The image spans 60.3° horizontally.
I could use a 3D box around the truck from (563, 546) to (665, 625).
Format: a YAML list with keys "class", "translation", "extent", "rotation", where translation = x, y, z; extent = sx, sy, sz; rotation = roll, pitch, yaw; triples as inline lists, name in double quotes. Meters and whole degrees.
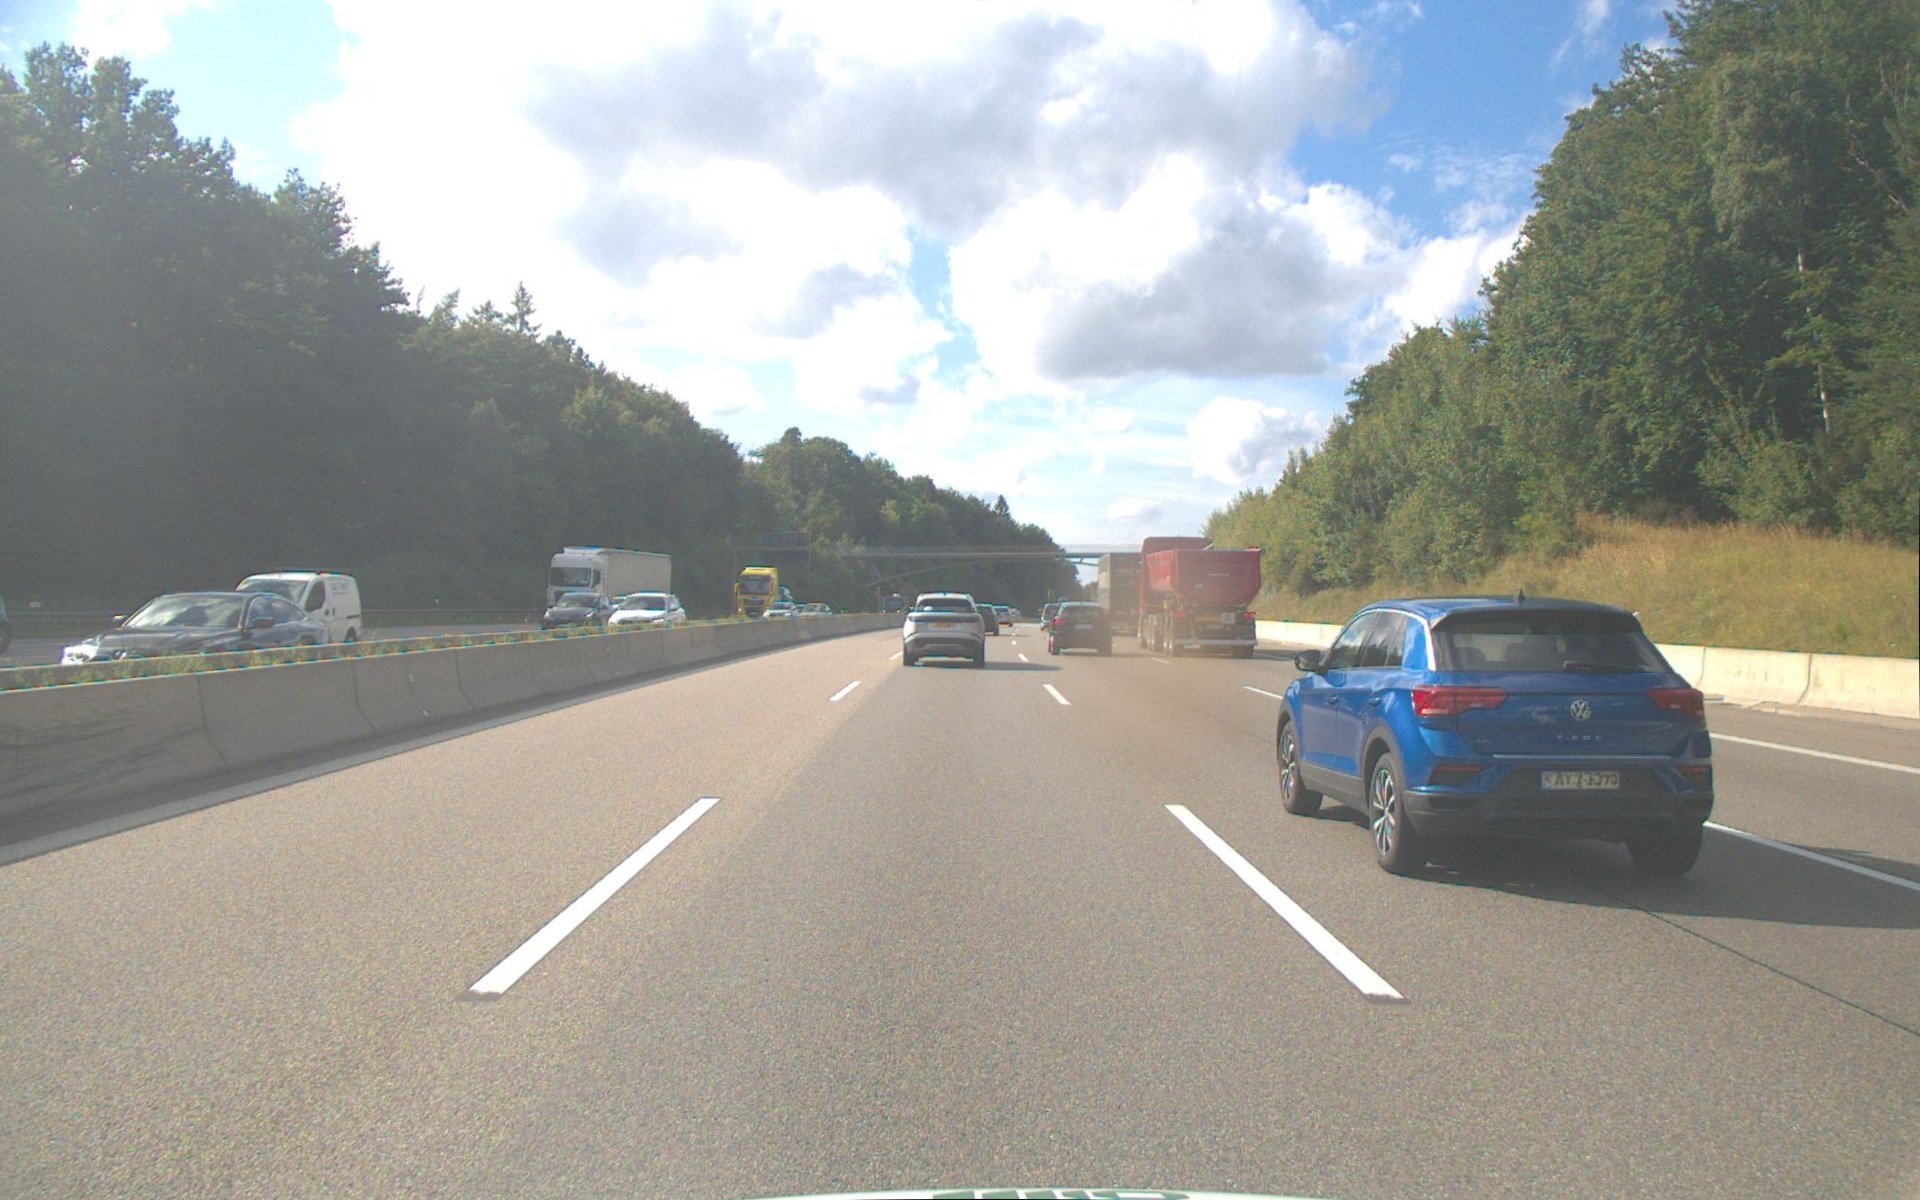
- class: "truck"
  translation: [-19.589, -0.793, 94.685]
  extent: [2.650, 4.139, 13.091]
  rotation: [1, 0, 2]

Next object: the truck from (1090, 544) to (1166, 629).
- class: "truck"
  translation: [8.415, -0.656, 84.109]
  extent: [3.054, 4.003, 10.413]
  rotation: [1, 0, 2]

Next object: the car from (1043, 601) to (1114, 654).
- class: "car"
  translation: [3.464, 0.776, 48.989]
  extent: [1.785, 1.483, 4.000]
  rotation: [1, 0, 0]

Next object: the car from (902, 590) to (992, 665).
- class: "car"
  translation: [-0.362, 0.599, 39.551]
  extent: [1.966, 1.644, 5.299]
  rotation: [1, 0, -2]

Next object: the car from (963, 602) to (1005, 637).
- class: "car"
  translation: [1.175, 0.920, 78.419]
  extent: [1.784, 1.573, 4.001]
  rotation: [2, 0, 3]

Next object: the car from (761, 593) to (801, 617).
- class: "car"
  translation: [-11.468, 0.320, 106.116]
  extent: [1.952, 1.512, 4.983]
  rotation: [1, 0, 1]

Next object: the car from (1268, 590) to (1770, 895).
- class: "car"
  translation: [3.268, 0.719, 10.669]
  extent: [1.737, 1.557, 4.457]
  rotation: [0, 0, 0]

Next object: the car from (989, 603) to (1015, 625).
- class: "car"
  translation: [3.076, 0.995, 119.544]
  extent: [1.784, 1.483, 4.001]
  rotation: [1, 0, 2]

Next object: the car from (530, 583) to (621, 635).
- class: "car"
  translation: [-13.385, 0.301, 57.898]
  extent: [1.952, 1.716, 4.680]
  rotation: [1, 0, 1]

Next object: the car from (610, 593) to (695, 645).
- class: "car"
  translation: [-9.486, 0.562, 51.340]
  extent: [1.718, 1.534, 4.680]
  rotation: [1, 0, 0]

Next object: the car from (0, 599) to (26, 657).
- class: "car"
  translation: [-21.379, 0.605, 34.691]
  extent: [1.463, 1.233, 3.787]
  rotation: [1, 0, -1]

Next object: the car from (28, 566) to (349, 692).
- class: "car"
  translation: [-9.713, 0.324, 21.316]
  extent: [1.953, 1.415, 4.747]
  rotation: [1, 0, -1]

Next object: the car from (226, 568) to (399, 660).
- class: "car"
  translation: [-14.158, 0.274, 36.477]
  extent: [1.953, 1.869, 4.729]
  rotation: [1, 0, -1]

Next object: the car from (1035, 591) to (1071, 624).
- class: "car"
  translation: [5.490, 0.436, 98.027]
  extent: [1.855, 1.889, 4.100]
  rotation: [1, 0, -1]

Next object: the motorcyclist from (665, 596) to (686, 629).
- class: "motorcyclist"
  translation: [-12.974, 0.566, 75.506]
  extent: [0.738, 1.502, 1.075]
  rotation: [1, 0, 0]

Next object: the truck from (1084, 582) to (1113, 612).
- class: "truck"
  translation: [14.050, -0.278, 167.512]
  extent: [2.784, 2.976, 8.390]
  rotation: [1, 0, 5]

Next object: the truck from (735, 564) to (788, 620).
- class: "truck"
  translation: [-14.262, -0.589, 119.057]
  extent: [2.719, 3.877, 7.135]
  rotation: [1, 0, 1]

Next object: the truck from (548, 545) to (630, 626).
- class: "truck"
  translation: [-19.767, -0.764, 88.428]
  extent: [2.650, 4.139, 6.600]
  rotation: [1, 0, 2]

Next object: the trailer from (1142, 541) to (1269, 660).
- class: "trailer"
  translation: [7.378, -0.005, 50.925]
  extent: [2.654, 3.288, 9.734]
  rotation: [1, 0, 1]

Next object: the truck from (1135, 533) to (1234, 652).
- class: "truck"
  translation: [7.479, -0.244, 55.837]
  extent: [2.654, 3.784, 5.818]
  rotation: [1, 0, 1]
